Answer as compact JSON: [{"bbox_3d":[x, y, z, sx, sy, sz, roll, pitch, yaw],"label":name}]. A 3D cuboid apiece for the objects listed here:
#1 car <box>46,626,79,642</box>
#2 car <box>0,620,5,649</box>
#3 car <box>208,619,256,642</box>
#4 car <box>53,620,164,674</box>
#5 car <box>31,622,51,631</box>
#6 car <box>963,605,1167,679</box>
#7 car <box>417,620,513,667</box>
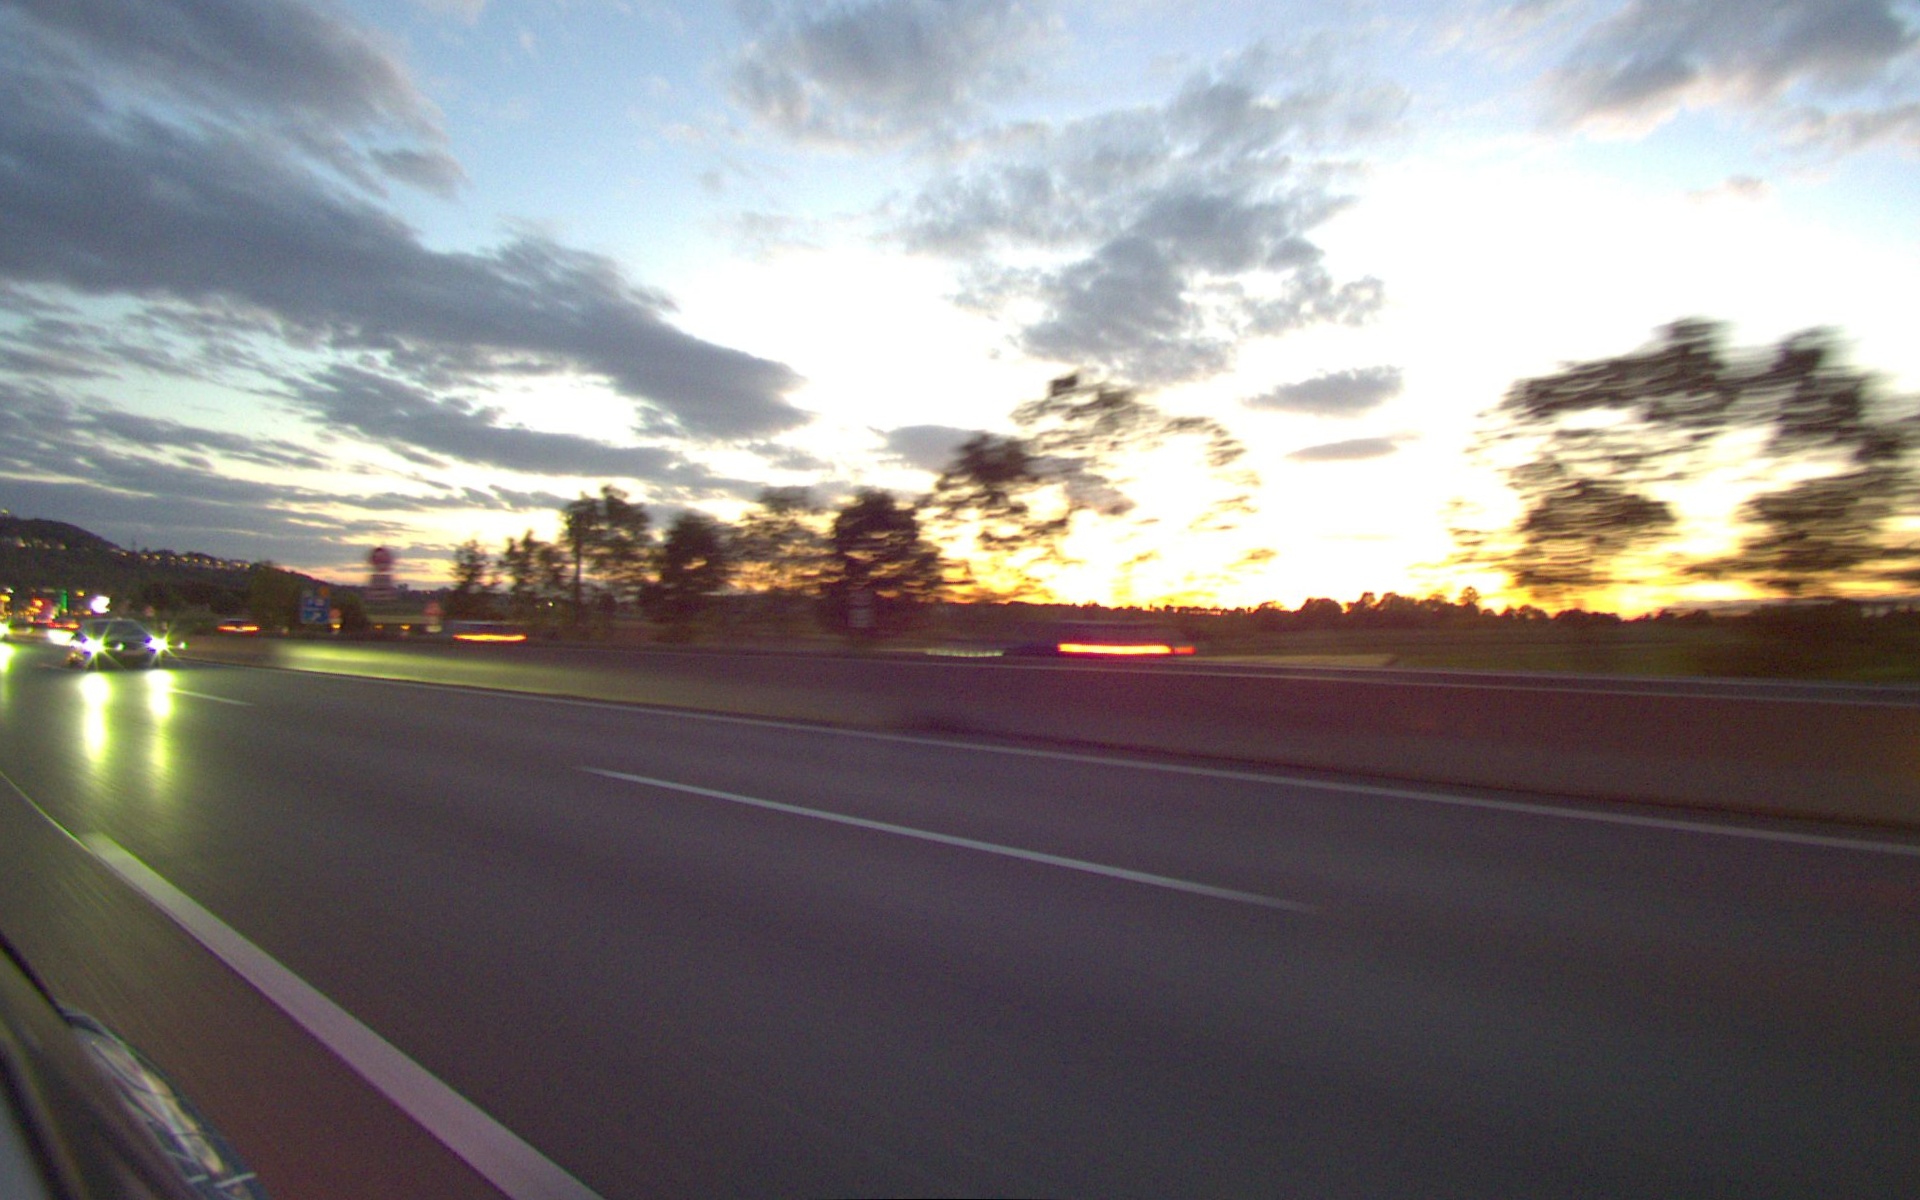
[{"bbox_3d":[-79.707,2.996,89.890,3.998,1.257,1.685,0,0,41],"label":"car"},{"bbox_3d":[-58.452,2.032,60.258,4.854,1.660,1.795,0,0,41],"label":"car"},{"bbox_3d":[-48.534,2.021,67.431,4.109,1.372,1.726,0,0,41],"label":"car"},{"bbox_3d":[-26.364,1.391,31.254,5.392,1.448,1.795,0,0,41],"label":"car"},{"bbox_3d":[-134.950,3.938,148.575,3.998,1.187,1.700,0,0,41],"label":"car"},{"bbox_3d":[2.268,0.861,22.616,4.272,1.465,1.841,0,0,41],"label":"car"},{"bbox_3d":[-17.929,1.525,36.584,3.998,1.558,1.714,0,0,41],"label":"car"}]
